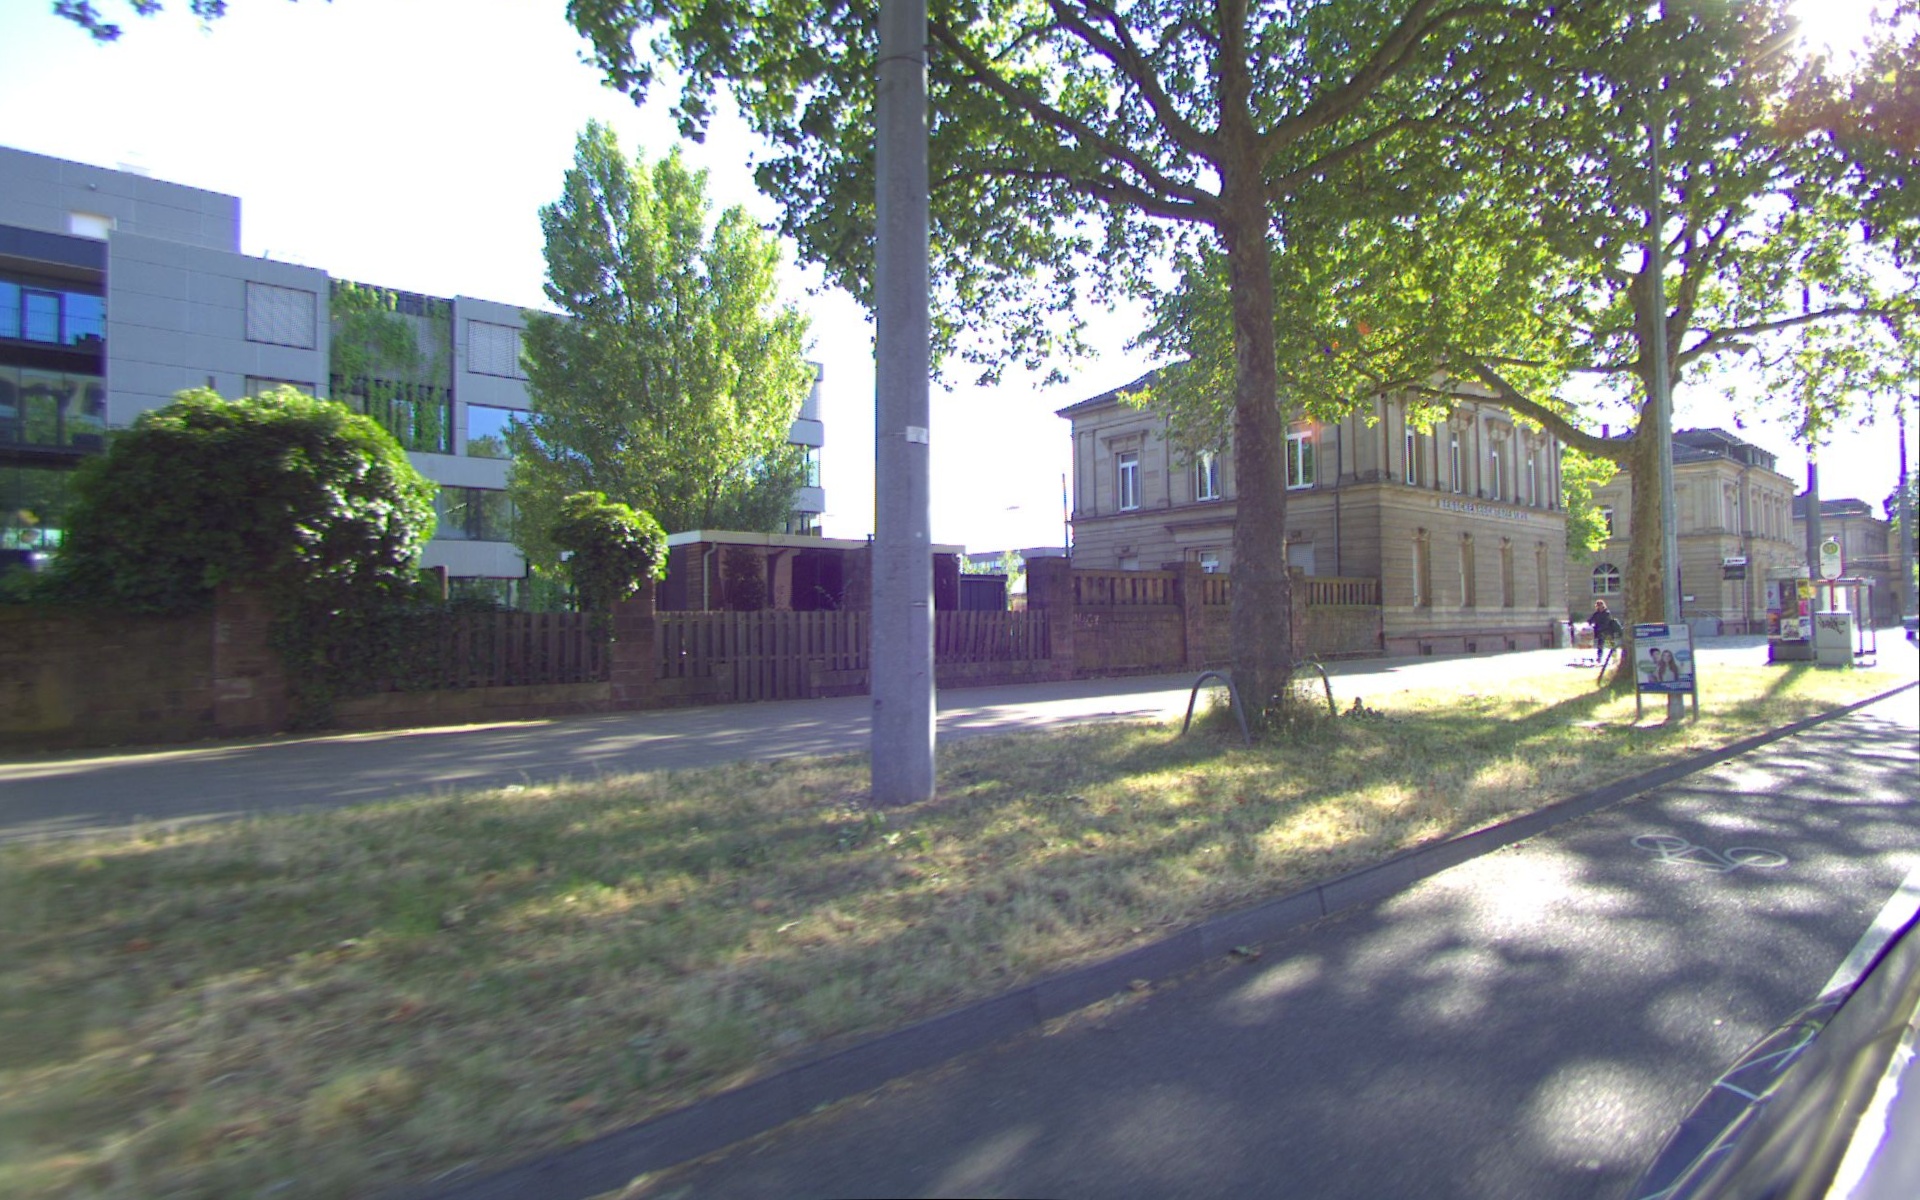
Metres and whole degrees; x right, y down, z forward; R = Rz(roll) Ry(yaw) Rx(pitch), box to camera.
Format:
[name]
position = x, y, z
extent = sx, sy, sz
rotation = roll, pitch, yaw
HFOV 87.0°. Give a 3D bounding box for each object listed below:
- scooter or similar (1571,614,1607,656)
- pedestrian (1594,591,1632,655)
[scooter or similar]
position = 17.795, 0.976, 28.627
extent = 0.718, 1.170, 0.748
rotation = 0, 0, 43
[pedestrian]
position = 18.273, 0.633, 28.327
extent = 0.769, 1.767, 0.784
rotation = 0, -1, 44
